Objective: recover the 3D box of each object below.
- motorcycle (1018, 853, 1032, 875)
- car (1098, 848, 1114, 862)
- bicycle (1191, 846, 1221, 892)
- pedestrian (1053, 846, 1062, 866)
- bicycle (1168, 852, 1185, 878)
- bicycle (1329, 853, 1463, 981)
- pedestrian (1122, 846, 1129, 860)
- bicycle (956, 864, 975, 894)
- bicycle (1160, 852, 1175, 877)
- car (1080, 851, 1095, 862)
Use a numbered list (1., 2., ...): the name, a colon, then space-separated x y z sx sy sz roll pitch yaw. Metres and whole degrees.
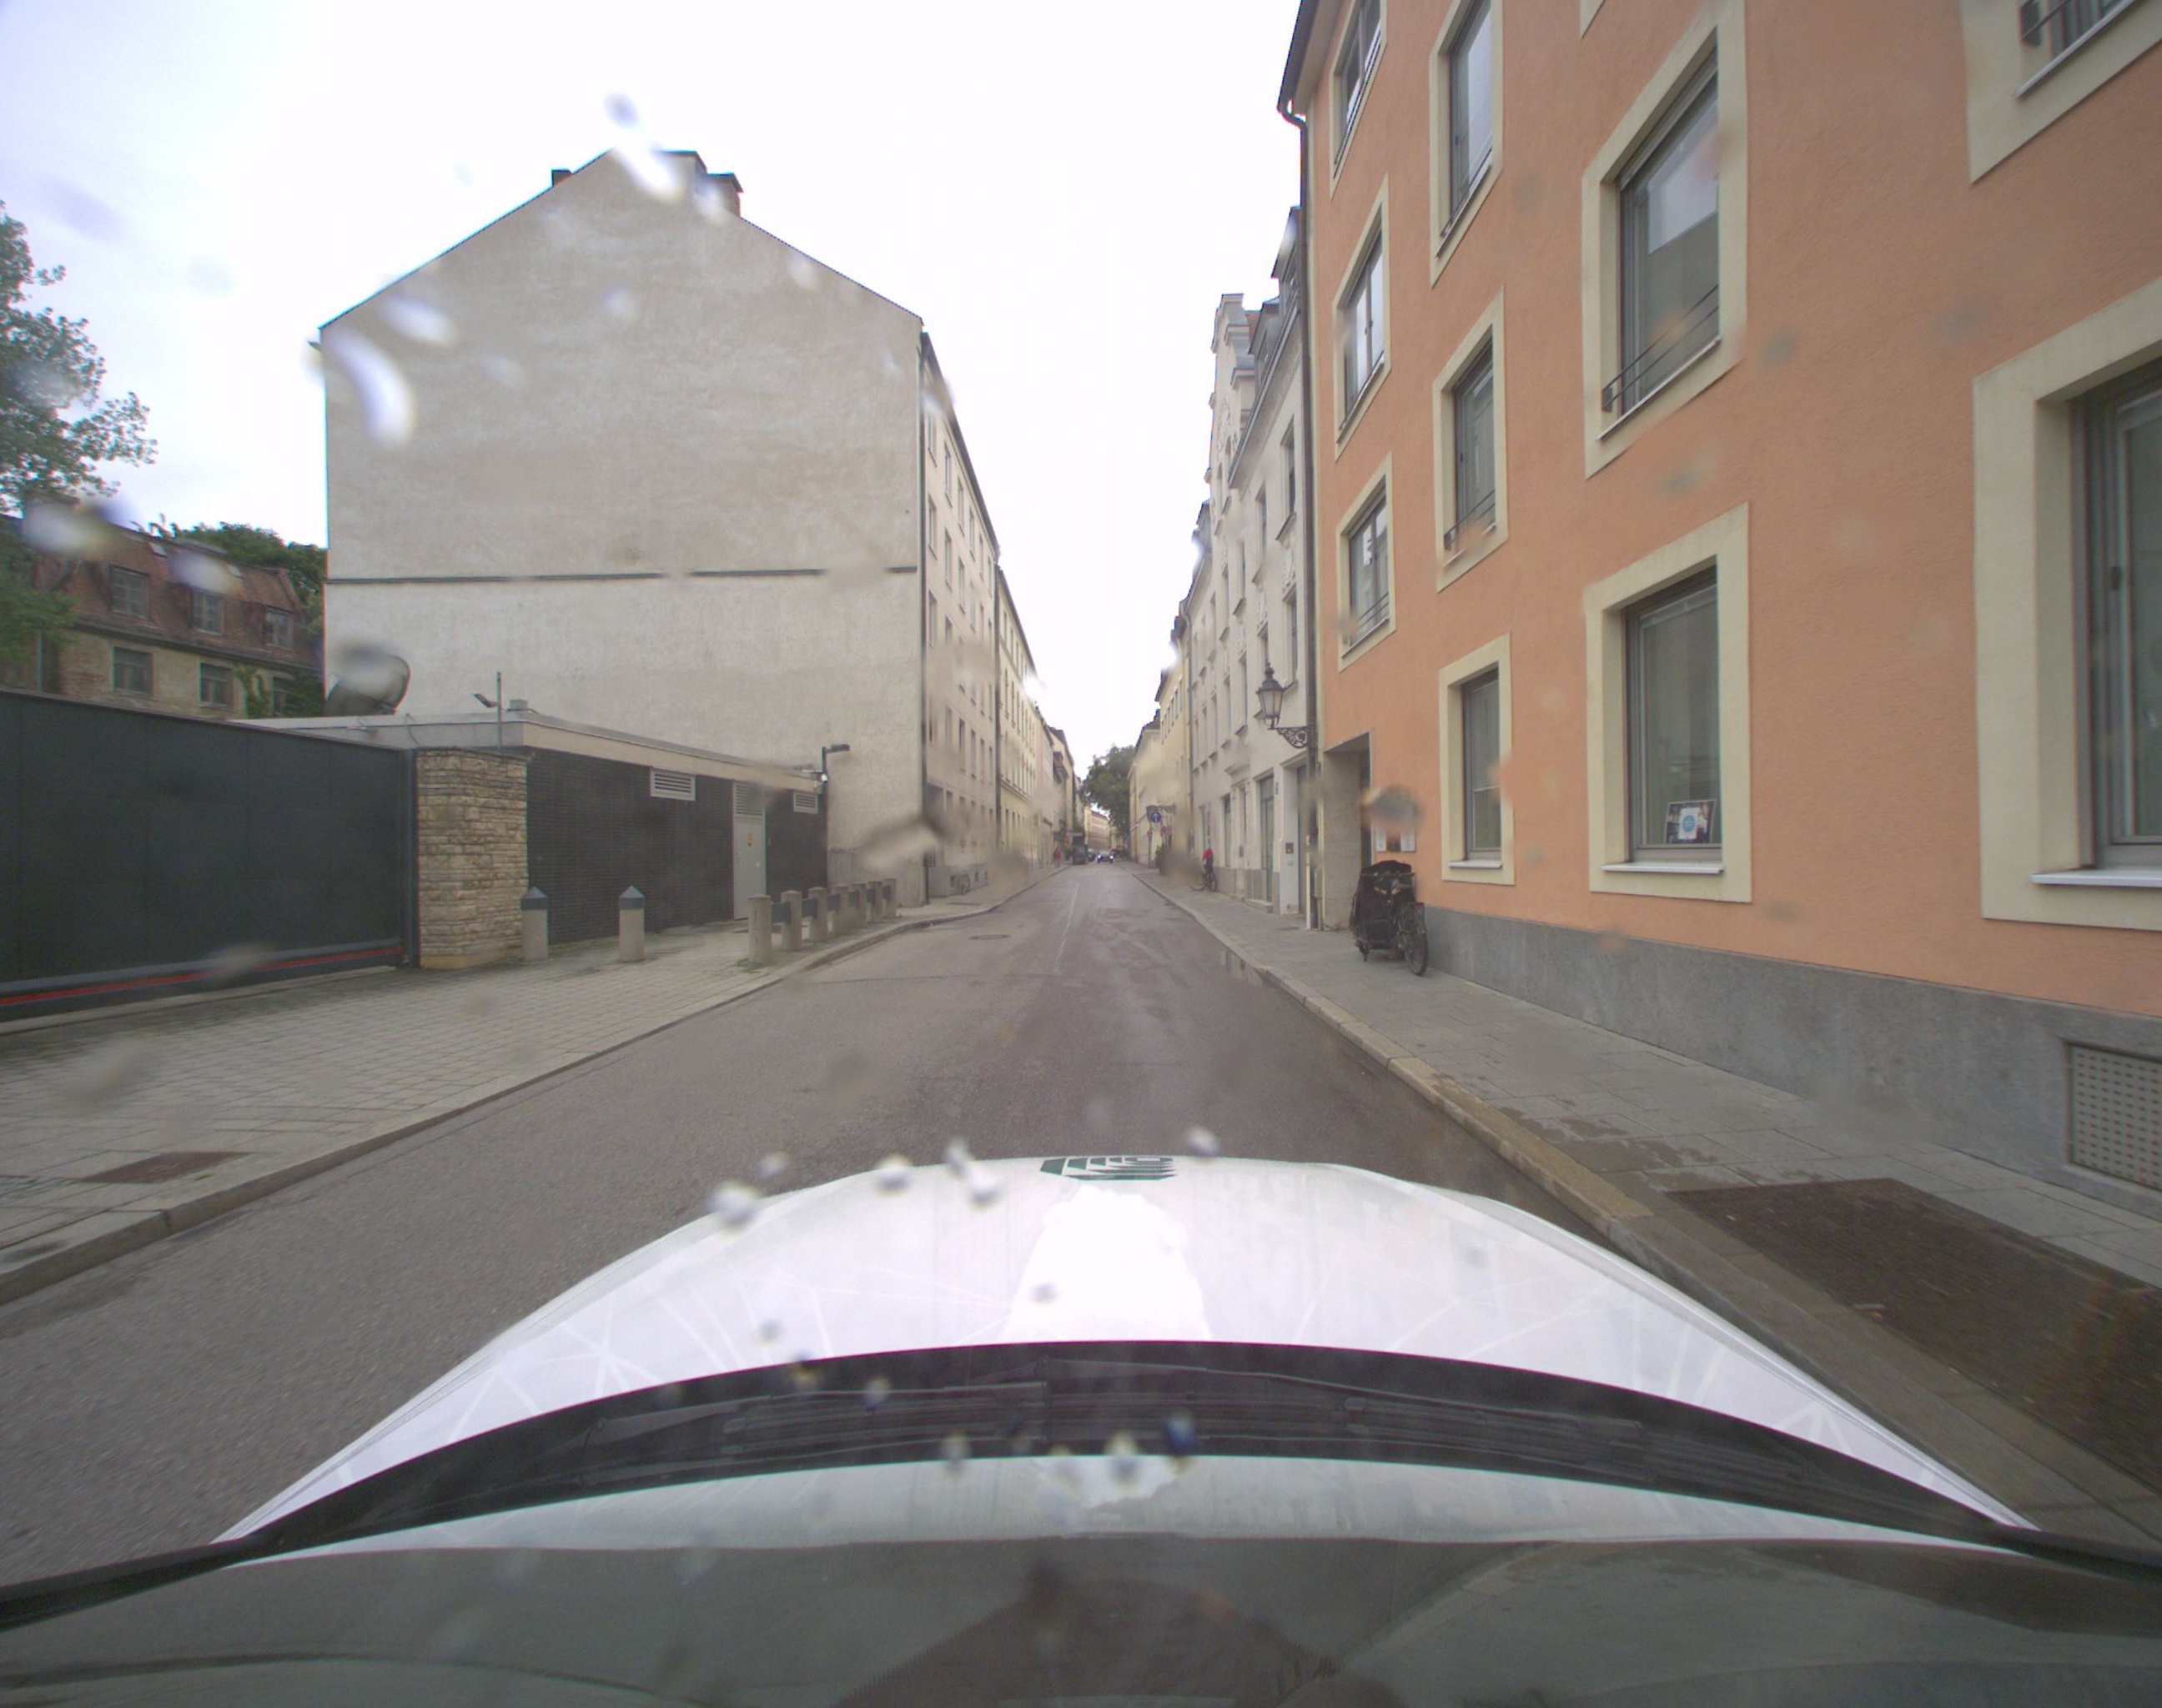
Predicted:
1. motorcycle: -3.153 0.551 45.836 0.600 1.174 1.709 0 0 2
2. car: 2.955 0.116 96.026 1.806 1.594 4.000 -1 0 0
3. bicycle: 4.055 0.471 26.571 0.710 1.396 2.124 -3 0 4
4. pedestrian: -2.039 0.146 70.259 0.763 1.708 0.785 -1 0 -1
5. bicycle: 4.399 0.510 37.657 0.563 1.137 1.989 -3 0 2
6. bicycle: 3.627 0.649 9.627 0.676 1.240 2.384 -5 1 3
7. pedestrian: 5.667 -0.106 104.460 0.877 1.802 1.047 0 0 2
8. bicycle: -3.913 0.838 27.614 0.318 0.944 1.575 2 0 3
9. bicycle: 4.232 0.503 39.880 0.563 1.137 1.685 -3 0 2
10. car: 0.857 0.330 109.167 1.771 1.466 3.667 0 0 4
